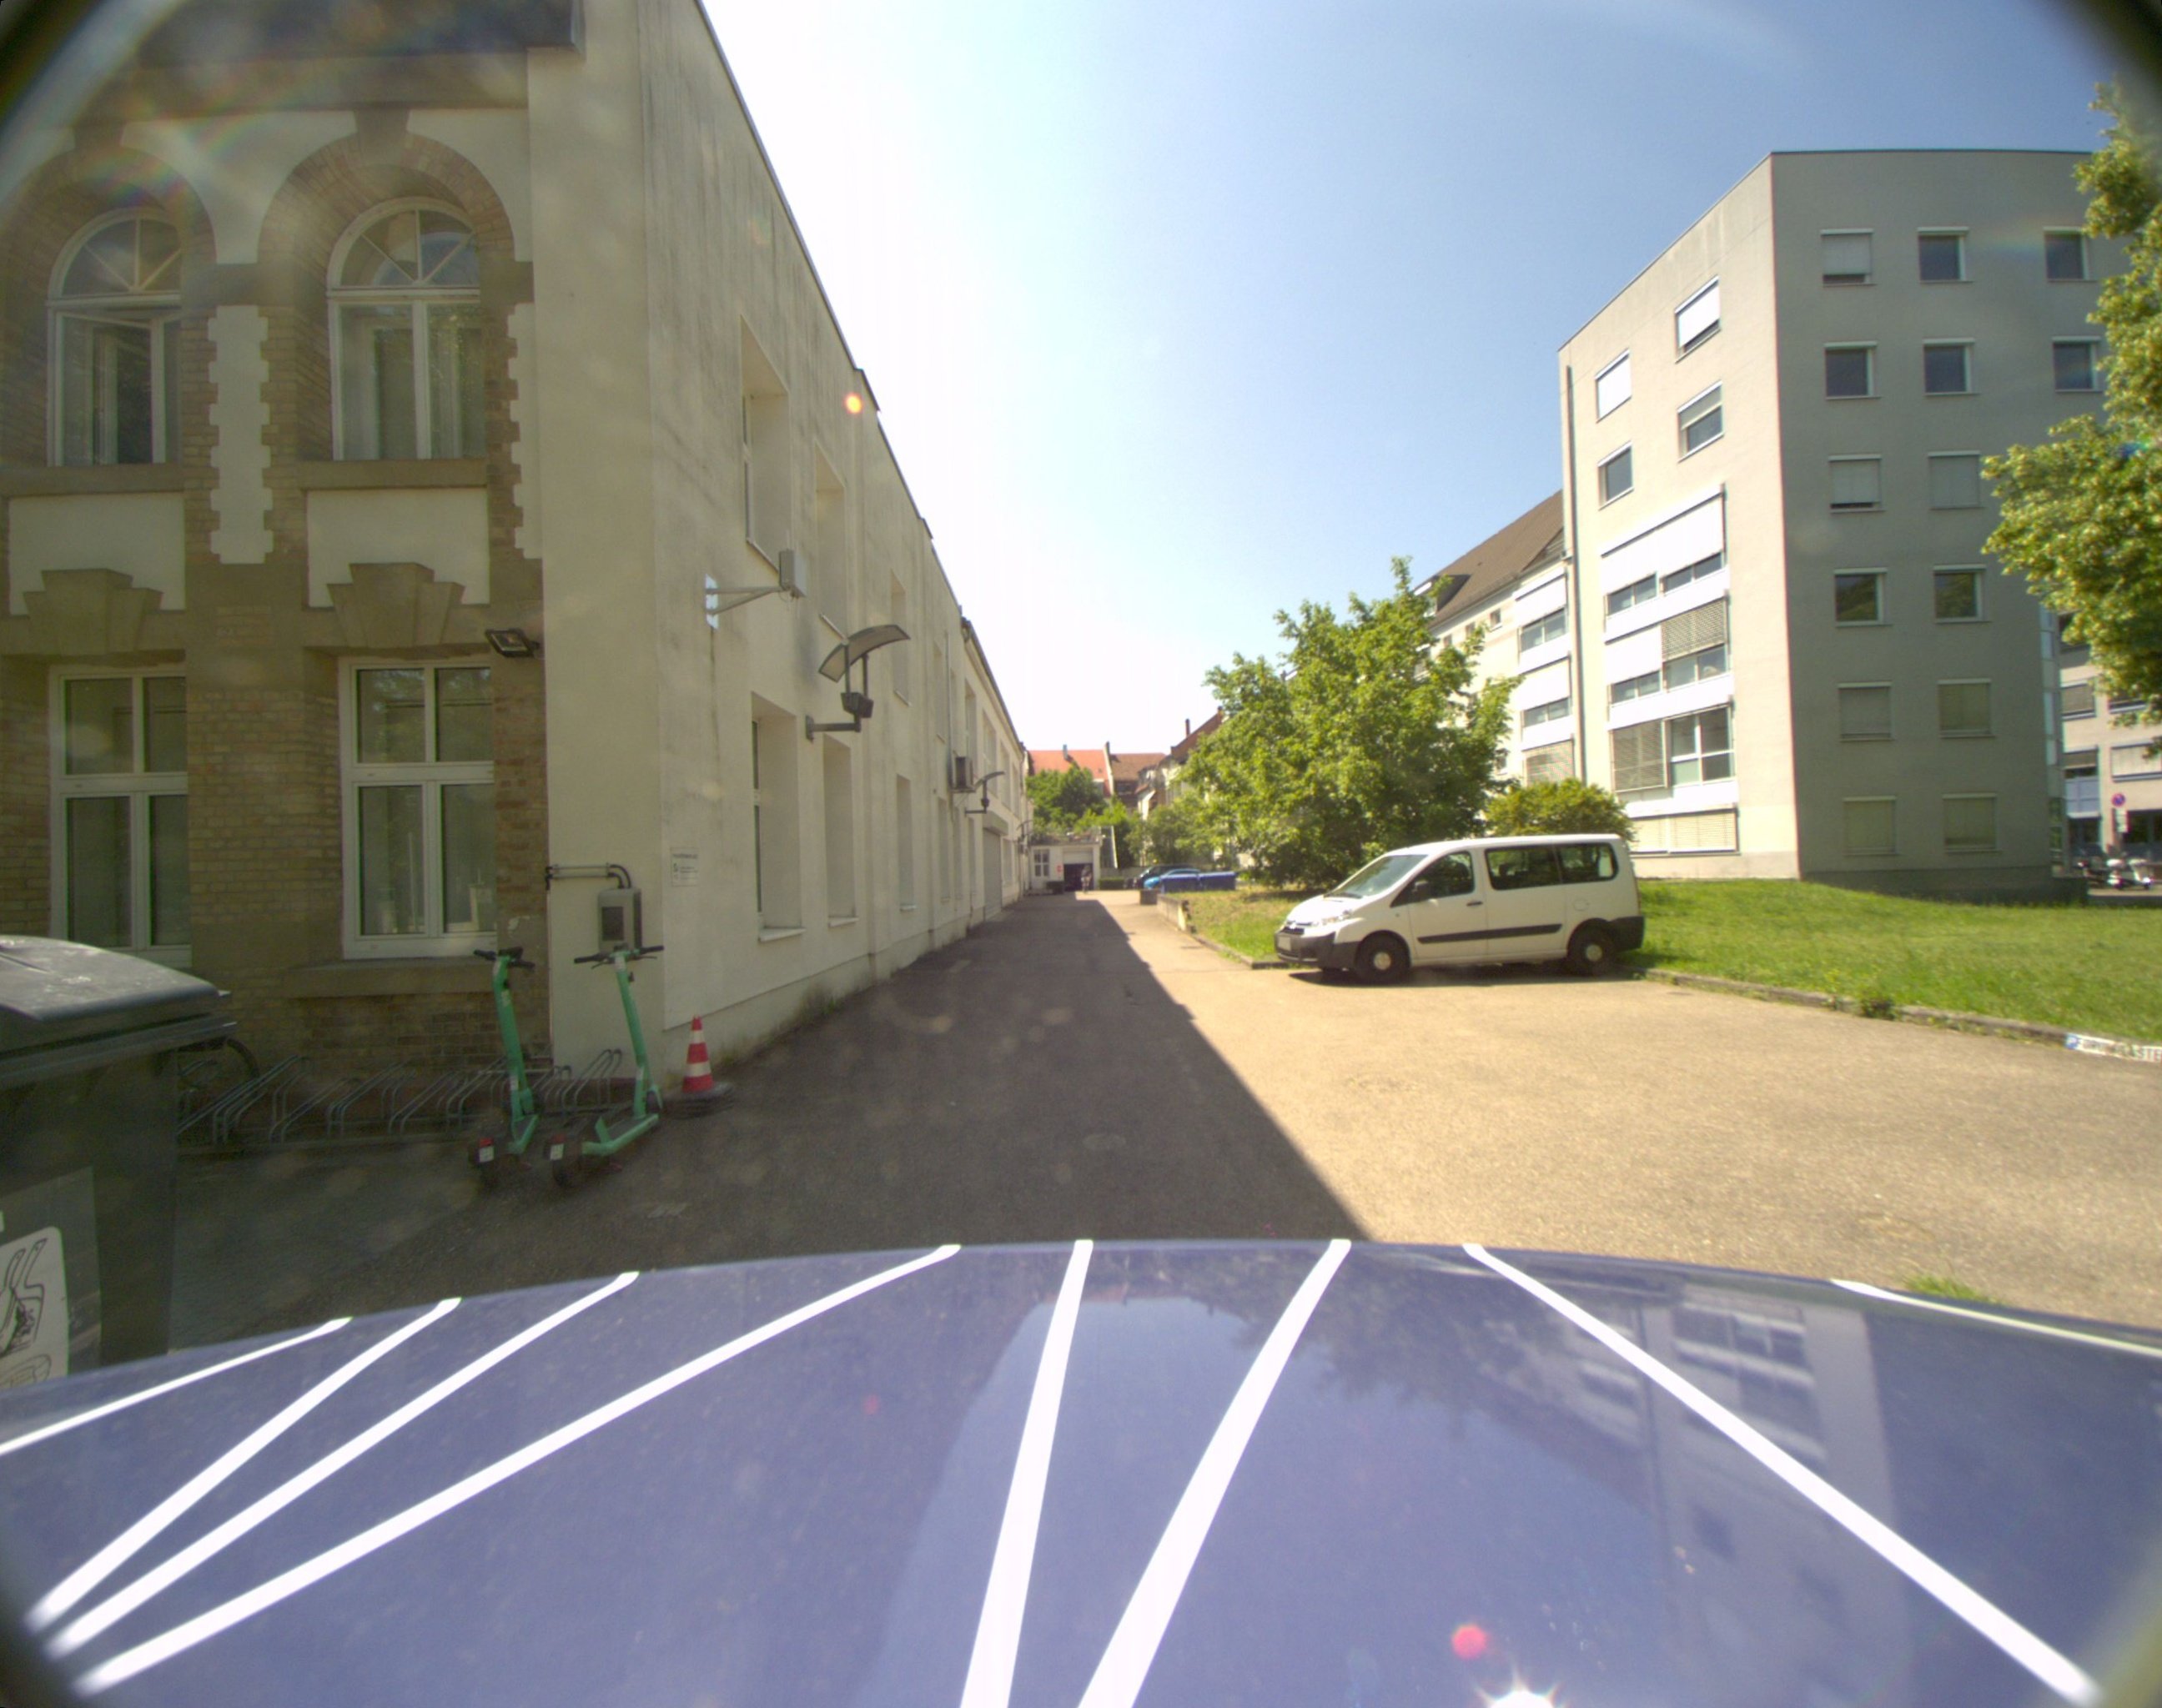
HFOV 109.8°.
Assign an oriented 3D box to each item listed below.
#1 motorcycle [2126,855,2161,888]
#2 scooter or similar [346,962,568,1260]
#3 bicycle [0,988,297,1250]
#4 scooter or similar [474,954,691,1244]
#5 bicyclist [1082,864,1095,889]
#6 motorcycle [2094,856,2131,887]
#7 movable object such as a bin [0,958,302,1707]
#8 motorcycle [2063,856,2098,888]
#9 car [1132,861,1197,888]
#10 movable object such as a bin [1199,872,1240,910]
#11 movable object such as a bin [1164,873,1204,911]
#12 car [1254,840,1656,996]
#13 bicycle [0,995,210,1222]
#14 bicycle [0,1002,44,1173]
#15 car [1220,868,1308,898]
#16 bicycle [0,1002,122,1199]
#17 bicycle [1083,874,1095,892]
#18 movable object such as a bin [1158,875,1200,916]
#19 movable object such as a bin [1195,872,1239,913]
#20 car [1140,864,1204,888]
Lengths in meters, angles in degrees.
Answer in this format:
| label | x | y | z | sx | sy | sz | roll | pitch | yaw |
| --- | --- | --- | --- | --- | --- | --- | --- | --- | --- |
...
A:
| label | x | y | z | sx | sy | sz | roll | pitch | yaw |
| --- | --- | --- | --- | --- | --- | --- | --- | --- | --- |
| motorcycle | 41.154 | 0.666 | 29.374 | 2.337 | 1.161 | 0.698 | -1 | 0 | -40 |
| scooter or similar | -3.276 | 1.259 | 4.108 | 0.465 | 1.167 | 1.254 | -2 | 0 | -18 |
| bicycle | -5.544 | 1.427 | 4.212 | 0.454 | 1.061 | 1.835 | -2 | -1 | 1 |
| scooter or similar | -2.681 | 1.236 | 4.243 | 0.465 | 1.167 | 1.356 | -2 | 0 | -9 |
| bicyclist | 0.508 | 1.512 | 51.090 | 0.724 | 1.600 | 0.978 | -2 | 0 | -2 |
| motorcycle | 40.642 | 0.672 | 29.948 | 2.315 | 1.161 | 0.698 | -1 | 0 | -40 |
| movable object such as a bin | -2.695 | 1.062 | 1.330 | 1.159 | 1.496 | 1.461 | -2 | 1 | -10 |
| motorcycle | 40.043 | 0.710 | 30.453 | 2.308 | 1.161 | 0.698 | -1 | 0 | -40 |
| car | 6.140 | 1.509 | 56.437 | 4.449 | 1.821 | 1.999 | -2 | 0 | -4 |
| movable object such as a bin | 5.075 | 1.336 | 27.938 | 1.257 | 1.320 | 1.104 | -2 | -1 | -1 |
| movable object such as a bin | 3.764 | 1.367 | 27.876 | 1.257 | 1.320 | 1.104 | -2 | -1 | -1 |
| car | 5.165 | 0.846 | 10.917 | 4.803 | 1.899 | 2.000 | -1 | -2 | -6 |
| bicycle | -6.095 | 1.470 | 4.181 | 0.454 | 1.061 | 1.835 | -2 | -1 | 1 |
| bicycle | -7.222 | 1.516 | 4.174 | 0.504 | 1.061 | 1.835 | -2 | -1 | 1 |
| car | 9.261 | 1.471 | 38.609 | 3.998 | 1.428 | 1.711 | -1 | -1 | -4 |
| bicycle | -6.654 | 1.511 | 4.138 | 0.504 | 1.061 | 1.835 | -2 | -1 | 1 |
| bicycle | 0.521 | 1.955 | 51.172 | 0.645 | 1.167 | 1.904 | -2 | -1 | -2 |
| movable object such as a bin | 3.353 | 1.395 | 26.090 | 1.257 | 1.320 | 1.104 | -2 | -1 | -1 |
| movable object such as a bin | 4.674 | 1.306 | 26.122 | 1.257 | 1.320 | 1.104 | -2 | -1 | -1 |
| car | 6.405 | 1.561 | 53.844 | 4.169 | 1.544 | 1.859 | -2 | -1 | -6 |
